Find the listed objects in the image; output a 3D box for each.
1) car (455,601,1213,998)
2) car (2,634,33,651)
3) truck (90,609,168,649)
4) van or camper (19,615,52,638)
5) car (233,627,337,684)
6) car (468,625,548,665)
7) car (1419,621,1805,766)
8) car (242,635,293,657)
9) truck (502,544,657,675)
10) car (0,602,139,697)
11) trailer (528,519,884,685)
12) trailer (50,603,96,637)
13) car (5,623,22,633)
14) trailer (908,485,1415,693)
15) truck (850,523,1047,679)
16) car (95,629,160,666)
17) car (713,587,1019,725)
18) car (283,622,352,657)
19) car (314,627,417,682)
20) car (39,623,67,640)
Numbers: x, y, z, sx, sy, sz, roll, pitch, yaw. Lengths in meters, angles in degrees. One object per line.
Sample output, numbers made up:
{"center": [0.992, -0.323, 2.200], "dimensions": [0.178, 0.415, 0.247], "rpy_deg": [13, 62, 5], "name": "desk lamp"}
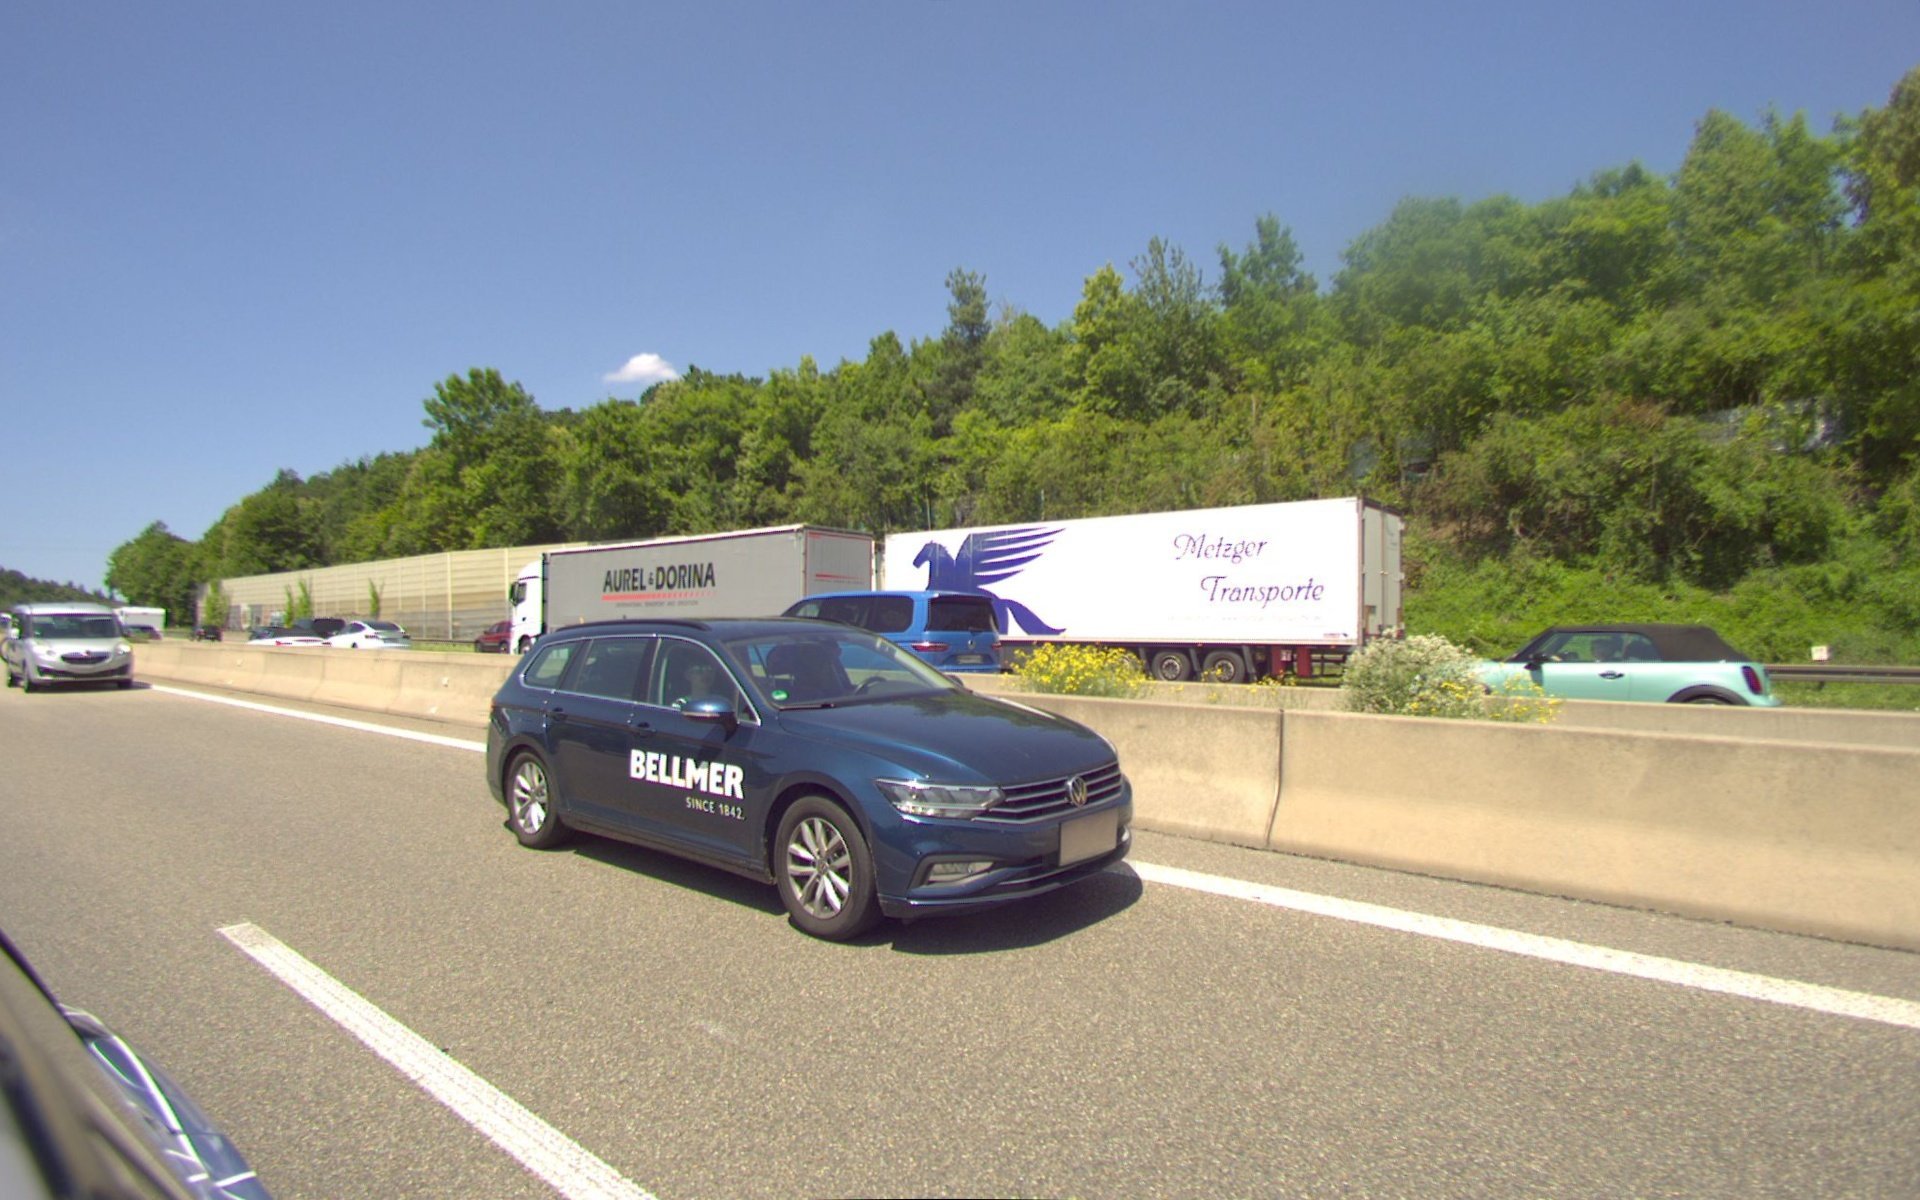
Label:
{"center": [-1.076, 0.793, 5.914], "dimensions": [4.728, 1.438, 1.714], "rpy_deg": [-1, -3, 42], "name": "car"}
{"center": [-82.758, 3.704, 88.856], "dimensions": [4.269, 1.386, 1.597], "rpy_deg": [-1, -3, 42], "name": "car"}
{"center": [-60.429, 2.086, 73.420], "dimensions": [11.624, 2.709, 2.501], "rpy_deg": [-1, -3, 42], "name": "truck"}
{"center": [-117.086, 3.352, 128.191], "dimensions": [6.803, 2.756, 2.246], "rpy_deg": [-1, -3, 41], "name": "van or camper"}
{"center": [-23.408, 1.869, 35.042], "dimensions": [3.998, 1.807, 1.973], "rpy_deg": [-1, -3, 41], "name": "car"}
{"center": [-21.116, 2.078, 47.231], "dimensions": [4.374, 1.764, 1.658], "rpy_deg": [-1, -3, 41], "name": "car"}
{"center": [7.719, 1.008, 12.183], "dimensions": [3.729, 1.456, 1.566], "rpy_deg": [-1, -3, 41], "name": "car"}
{"center": [-49.545, 3.268, 72.348], "dimensions": [4.692, 1.446, 1.926], "rpy_deg": [-1, -3, 42], "name": "car"}
{"center": [-13.516, 0.383, 35.787], "dimensions": [5.657, 4.246, 2.811], "rpy_deg": [-1, -2, 41], "name": "truck"}
{"center": [-19.245, 1.044, 21.798], "dimensions": [3.998, 1.858, 1.757], "rpy_deg": [-1, -3, 42], "name": "car"}
{"center": [-8.554, 0.161, 31.486], "dimensions": [14.731, 4.197, 2.805], "rpy_deg": [-1, -3, 41], "name": "trailer"}
{"center": [-110.698, 2.464, 126.202], "dimensions": [13.827, 3.938, 2.782], "rpy_deg": [-1, -3, 43], "name": "trailer"}
{"center": [-184.428, 5.443, 197.192], "dimensions": [5.302, 1.881, 1.900], "rpy_deg": [-1, -2, 42], "name": "car"}
{"center": [4.218, -0.123, 25.015], "dimensions": [12.620, 4.078, 2.778], "rpy_deg": [-1, -2, 41], "name": "trailer"}
{"center": [-0.383, 0.089, 29.044], "dimensions": [5.082, 4.078, 2.778], "rpy_deg": [-1, -2, 41], "name": "truck"}
{"center": [-41.962, 2.356, 51.005], "dimensions": [4.180, 1.785, 1.754], "rpy_deg": [-1, -2, 40], "name": "car"}
{"center": [-1.636, 0.807, 16.078], "dimensions": [5.034, 1.861, 1.892], "rpy_deg": [-1, -3, 41], "name": "car"}
{"center": [-35.041, 2.138, 55.134], "dimensions": [4.859, 1.823, 1.717], "rpy_deg": [-1, -2, 39], "name": "car"}
{"center": [-23.218, 2.083, 39.474], "dimensions": [4.745, 1.964, 1.973], "rpy_deg": [-1, -3, 41], "name": "car"}
{"center": [-92.124, 3.170, 102.789], "dimensions": [4.194, 1.696, 1.675], "rpy_deg": [-1, -2, 42], "name": "car"}
